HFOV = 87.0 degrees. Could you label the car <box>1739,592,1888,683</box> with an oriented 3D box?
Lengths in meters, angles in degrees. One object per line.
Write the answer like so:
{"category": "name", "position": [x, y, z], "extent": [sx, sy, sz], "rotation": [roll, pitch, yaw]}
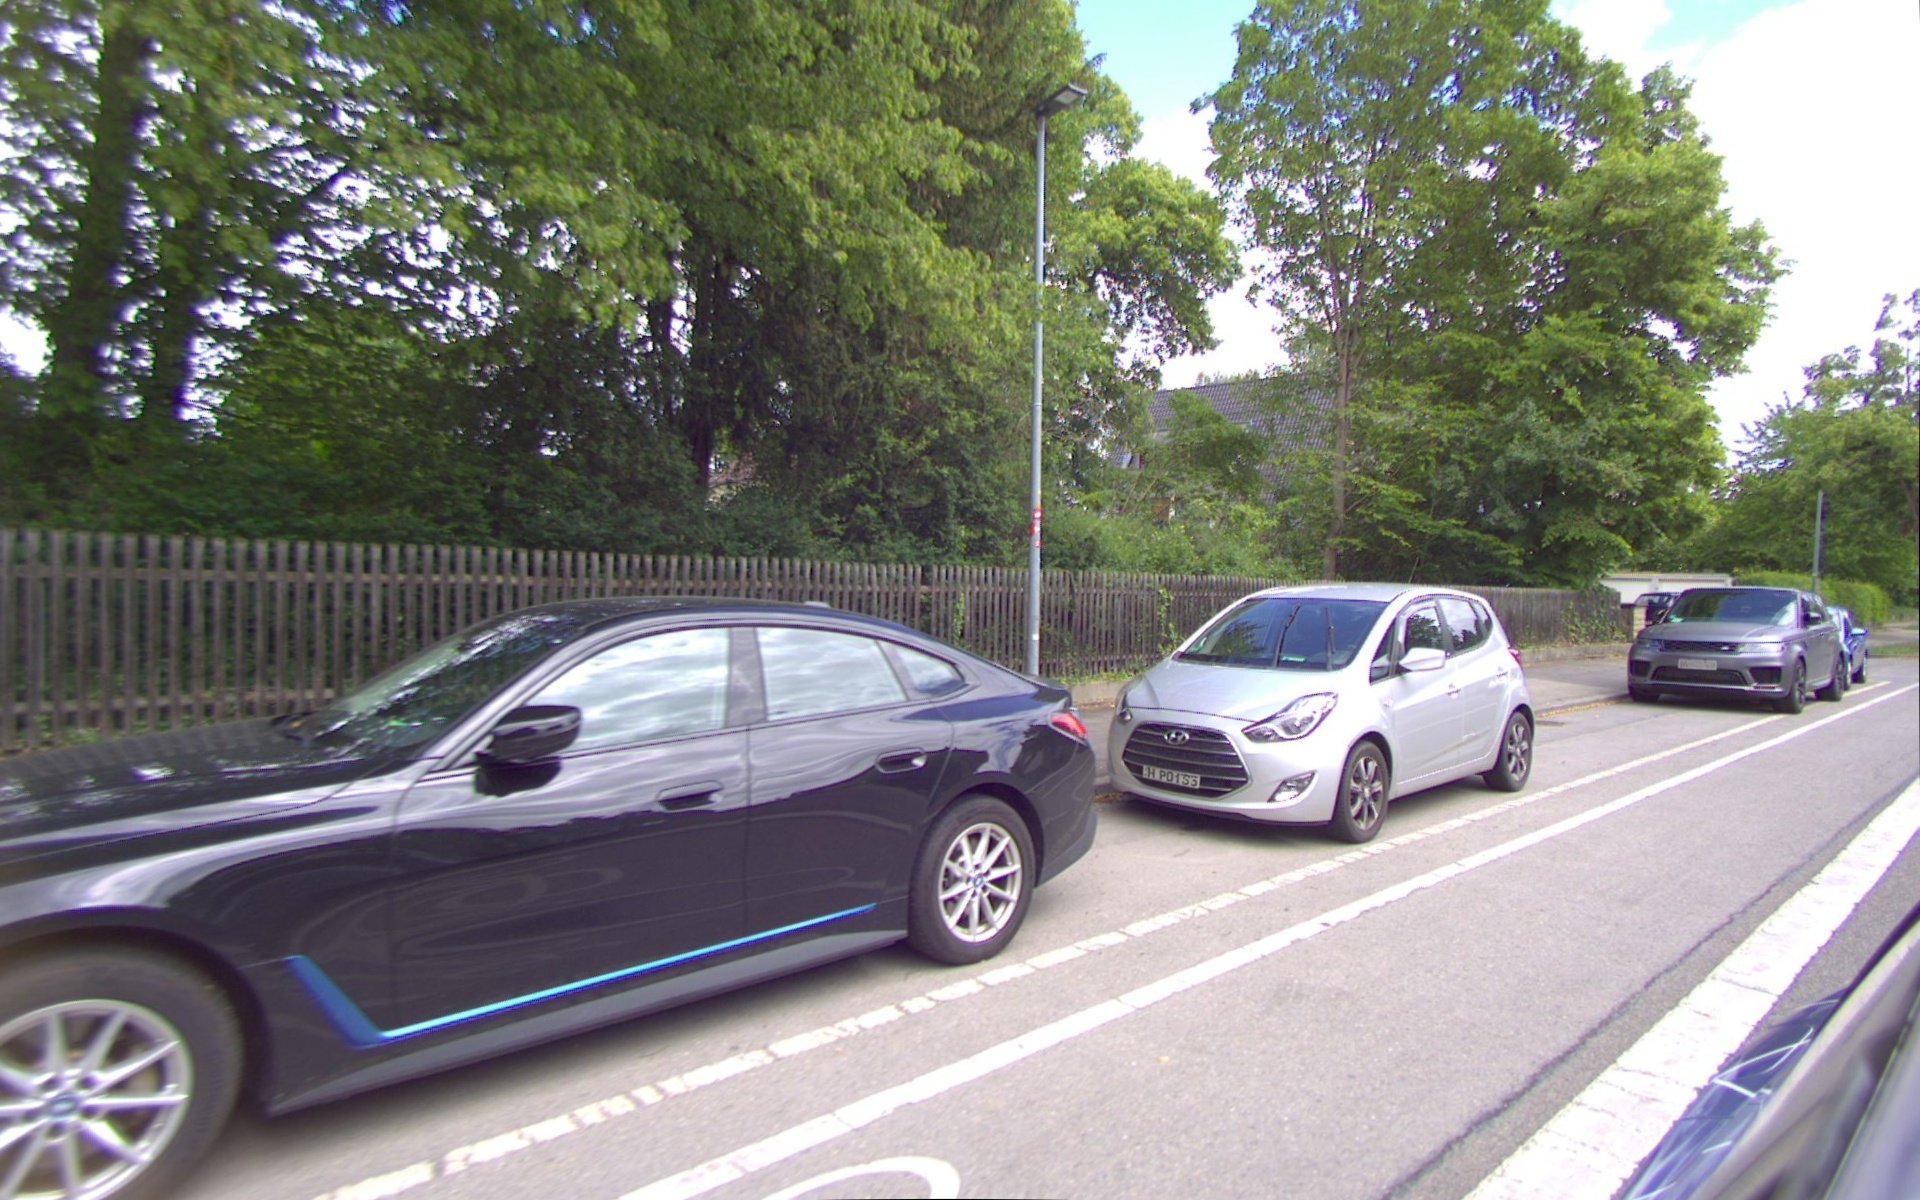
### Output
{"category": "car", "position": [16.149, 0.622, 19.083], "extent": [3.855, 1.520, 1.687], "rotation": [-1, 1, -43]}

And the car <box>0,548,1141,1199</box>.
{"category": "car", "position": [-1.473, 0.637, 3.861], "extent": [4.599, 1.534, 1.819], "rotation": [-1, 1, -41]}

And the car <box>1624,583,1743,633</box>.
{"category": "car", "position": [24.472, 0.271, 34.249], "extent": [3.152, 1.587, 1.655], "rotation": [1, 1, -16]}

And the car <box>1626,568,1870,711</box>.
{"category": "car", "position": [12.001, 0.472, 15.289], "extent": [4.742, 1.838, 1.997], "rotation": [-1, 1, -40]}

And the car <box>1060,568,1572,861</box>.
{"category": "car", "position": [2.909, 0.604, 7.713], "extent": [4.346, 1.609, 1.865], "rotation": [0, 1, -43]}
